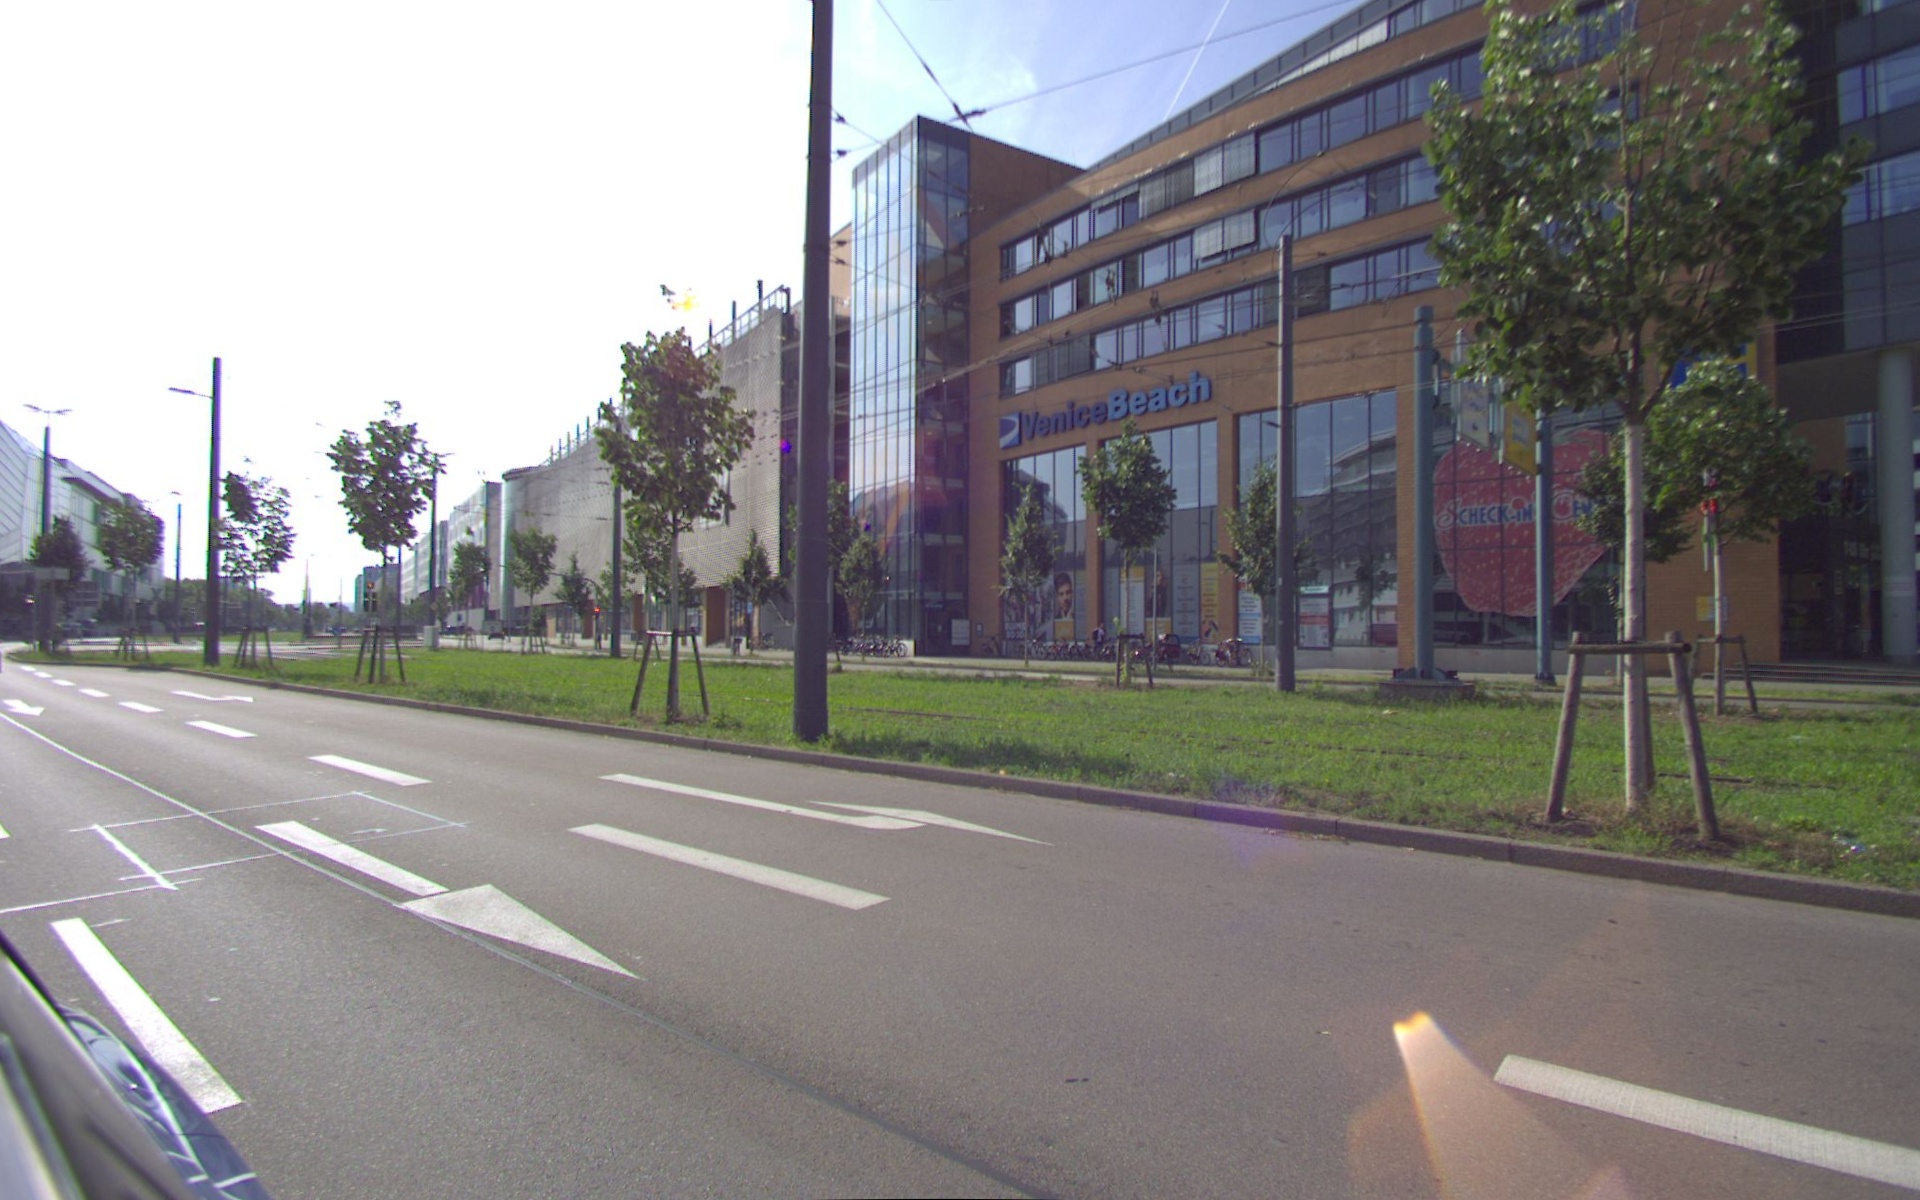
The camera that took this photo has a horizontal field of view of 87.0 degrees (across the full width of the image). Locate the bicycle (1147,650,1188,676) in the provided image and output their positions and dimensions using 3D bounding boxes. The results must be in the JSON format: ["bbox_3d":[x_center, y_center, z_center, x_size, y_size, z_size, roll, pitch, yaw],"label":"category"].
[{"bbox_3d":[7.694,2.328,37.485,1.656,0.914,0.710,2,-2,-44],"label":"bicycle"}]

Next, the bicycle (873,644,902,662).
[{"bbox_3d":[-3.914,2.887,54.906,1.557,0.947,0.412,1,-2,-34],"label":"bicycle"}]

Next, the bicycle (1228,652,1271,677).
[{"bbox_3d":[11.594,2.558,40.458,2.022,0.928,0.574,2,-2,-39],"label":"bicycle"}]

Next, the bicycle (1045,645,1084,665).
[{"bbox_3d":[4.988,2.623,48.243,2.022,0.928,0.574,2,-2,-39],"label":"bicycle"}]

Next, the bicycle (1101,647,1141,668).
[{"bbox_3d":[7.281,2.578,45.600,2.022,0.928,0.574,2,-2,-39],"label":"bicycle"}]

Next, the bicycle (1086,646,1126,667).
[{"bbox_3d":[6.684,2.584,46.225,2.022,0.928,0.574,2,-2,-39],"label":"bicycle"}]

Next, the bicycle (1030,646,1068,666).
[{"bbox_3d":[4.325,2.681,49.022,2.022,0.928,0.574,2,-2,-39],"label":"bicycle"}]

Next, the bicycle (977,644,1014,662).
[{"bbox_3d":[1.835,2.732,52.264,2.022,0.928,0.574,2,-2,-39],"label":"bicycle"}]

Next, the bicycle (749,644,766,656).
[{"bbox_3d":[-13.154,3.248,65.720,1.007,0.758,0.362,1,-2,-32],"label":"bicycle"}]

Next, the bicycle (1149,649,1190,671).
[{"bbox_3d":[9.044,2.583,43.611,2.022,0.928,0.574,2,-2,-39],"label":"bicycle"}]

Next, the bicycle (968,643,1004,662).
[{"bbox_3d":[1.355,2.731,52.825,2.022,0.928,0.574,2,-2,-39],"label":"bicycle"}]

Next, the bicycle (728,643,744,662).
[{"bbox_3d":[-12.994,3.029,58.647,0.438,0.995,2.171,2,-1,-24],"label":"bicycle"}]

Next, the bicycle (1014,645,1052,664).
[{"bbox_3d":[3.591,2.681,49.898,2.022,0.928,0.574,2,-2,-39],"label":"bicycle"}]

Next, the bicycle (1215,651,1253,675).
[{"bbox_3d":[11.105,2.556,41.011,2.022,0.928,0.381,2,-3,-39],"label":"bicycle"}]

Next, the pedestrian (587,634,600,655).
[{"bbox_3d":[-26.806,3.248,73.970,0.751,1.591,0.591,2,-3,-37],"label":"pedestrian"}]

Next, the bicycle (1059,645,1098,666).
[{"bbox_3d":[5.579,2.597,47.599,2.022,0.928,0.574,2,-2,-39],"label":"bicycle"}]

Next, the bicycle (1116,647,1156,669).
[{"bbox_3d":[7.831,2.556,44.937,2.022,0.928,0.574,2,-2,-39],"label":"bicycle"}]

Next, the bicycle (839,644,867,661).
[{"bbox_3d":[-6.079,2.957,57.593,1.557,0.947,0.474,1,-2,-34],"label":"bicycle"}]

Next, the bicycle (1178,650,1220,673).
[{"bbox_3d":[9.968,2.554,42.204,2.022,0.928,0.574,2,-2,-39],"label":"bicycle"}]

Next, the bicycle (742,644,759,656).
[{"bbox_3d":[-13.789,3.275,66.732,0.989,0.758,0.453,1,-2,-32],"label":"bicycle"}]

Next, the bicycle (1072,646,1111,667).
[{"bbox_3d":[6.109,2.598,46.943,2.022,0.928,0.574,2,-2,-39],"label":"bicycle"}]

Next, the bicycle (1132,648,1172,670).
[{"bbox_3d":[8.406,2.581,44.257,2.022,0.928,0.574,2,-2,-39],"label":"bicycle"}]
